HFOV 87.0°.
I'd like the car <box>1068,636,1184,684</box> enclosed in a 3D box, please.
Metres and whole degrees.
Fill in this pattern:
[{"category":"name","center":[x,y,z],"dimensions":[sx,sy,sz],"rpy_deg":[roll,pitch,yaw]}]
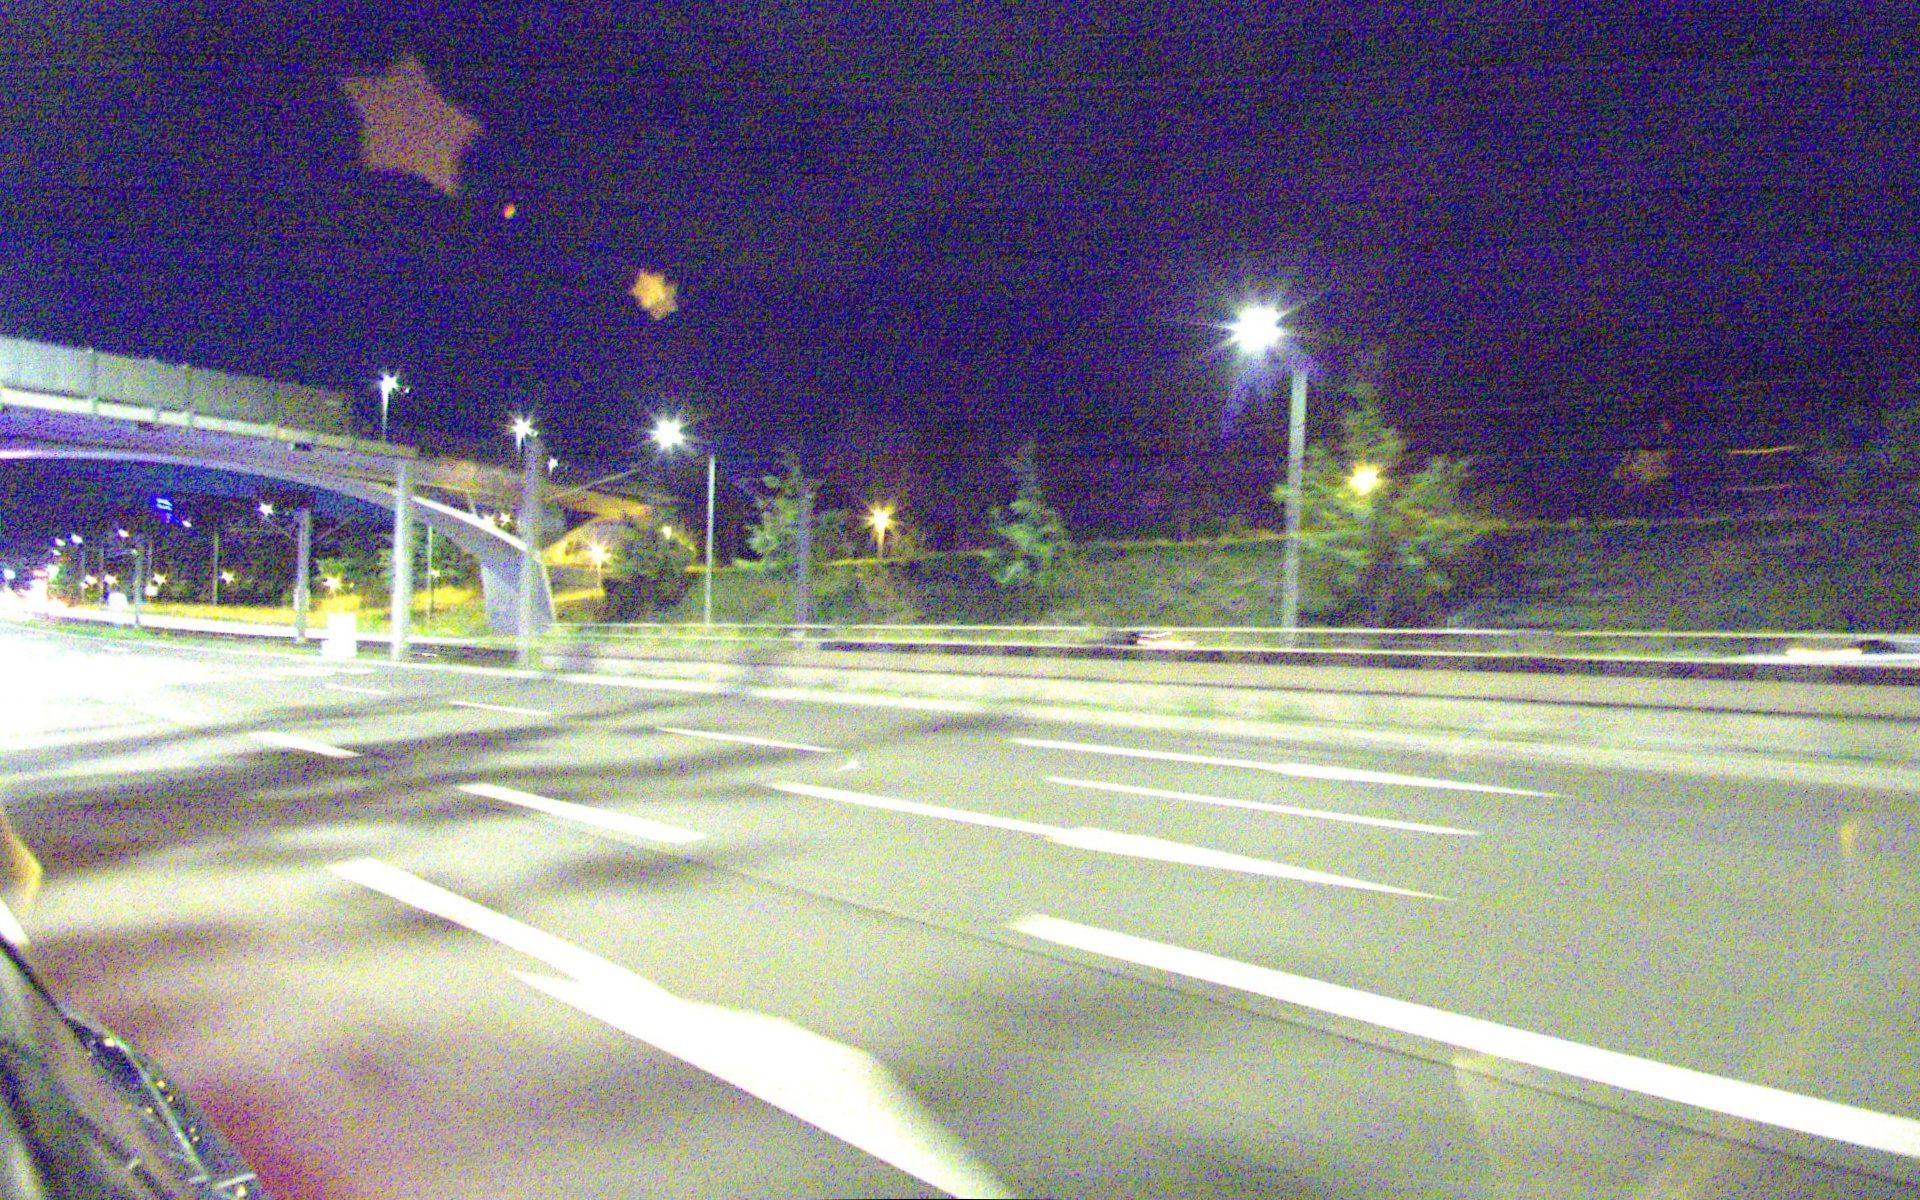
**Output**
[{"category":"car","center":[5.275,1.883,32.342],"dimensions":[3.389,1.279,1.512],"rpy_deg":[1,1,41]}]

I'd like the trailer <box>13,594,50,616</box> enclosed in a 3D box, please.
[{"category":"trailer","center":[-178.220,0.870,194.159],"dimensions":[8.378,4.019,3.663],"rpy_deg":[1,1,36]}]

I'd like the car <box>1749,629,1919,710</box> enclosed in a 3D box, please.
[{"category":"car","center":[20.597,1.538,23.136],"dimensions":[3.996,1.697,1.813],"rpy_deg":[-1,0,39]}]
